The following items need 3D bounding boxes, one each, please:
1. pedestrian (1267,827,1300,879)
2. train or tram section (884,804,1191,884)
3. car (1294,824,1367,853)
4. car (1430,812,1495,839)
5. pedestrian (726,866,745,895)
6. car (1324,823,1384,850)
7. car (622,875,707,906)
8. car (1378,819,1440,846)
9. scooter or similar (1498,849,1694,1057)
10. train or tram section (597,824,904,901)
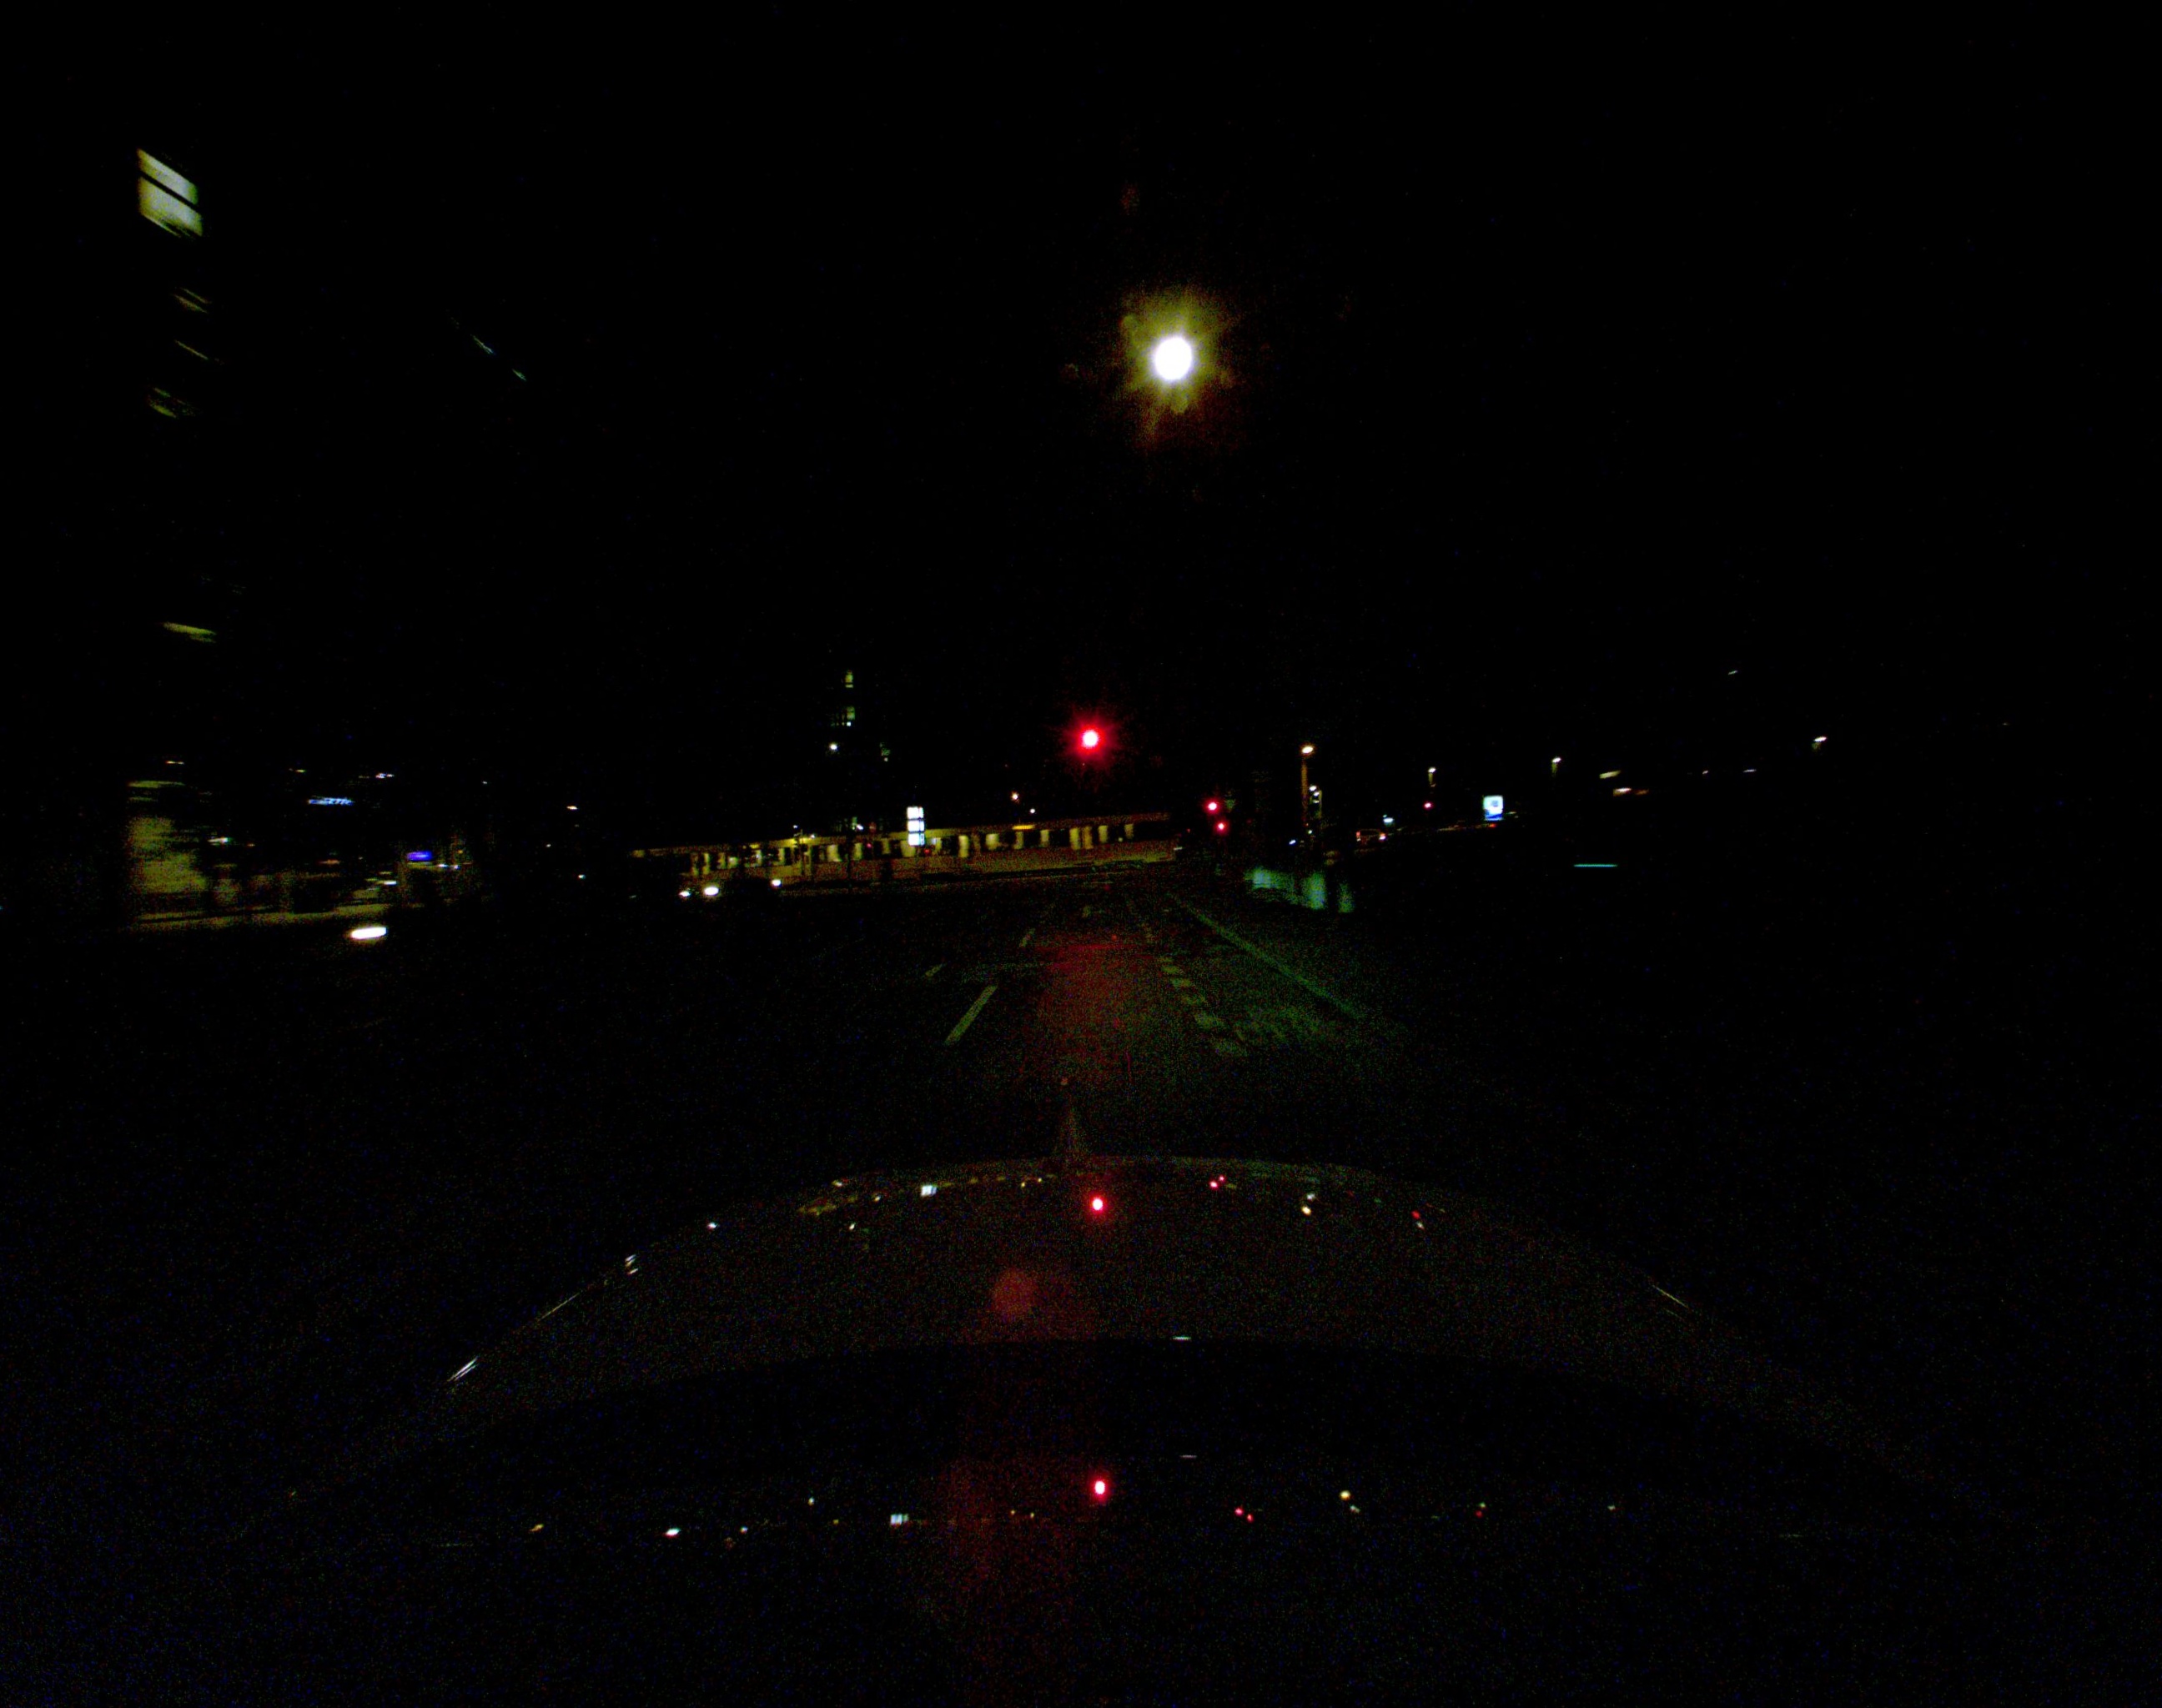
[{"bbox_3d":[7.078,-0.032,28.527,0.895,1.712,0.776,-5,-1,6],"label":"pedestrian"},{"bbox_3d":[-2.706,-0.563,52.062,19.074,3.823,2.929,-3,0,6],"label":"train or tram section"},{"bbox_3d":[17.794,-1.126,58.297,4.589,1.640,2.004,-5,0,6],"label":"car"},{"bbox_3d":[28.795,-2.158,61.582,3.961,1.574,1.892,-6,0,11],"label":"car"},{"bbox_3d":[-21.466,1.647,50.591,0.762,1.737,0.659,-4,1,2],"label":"pedestrian"},{"bbox_3d":[20.794,-1.336,62.179,4.034,1.615,1.874,-5,0,9],"label":"car"},{"bbox_3d":[-23.246,2.021,45.520,3.741,1.480,1.913,-3,0,8],"label":"car"},{"bbox_3d":[23.577,-1.552,58.643,3.742,1.527,1.764,-5,0,9],"label":"car"},{"bbox_3d":[3.543,0.613,5.729,0.492,1.262,1.321,-5,0,2],"label":"scooter or similar"},{"bbox_3d":[-21.896,0.592,54.142,19.690,3.861,2.946,-3,0,6],"label":"train or tram section"}]
